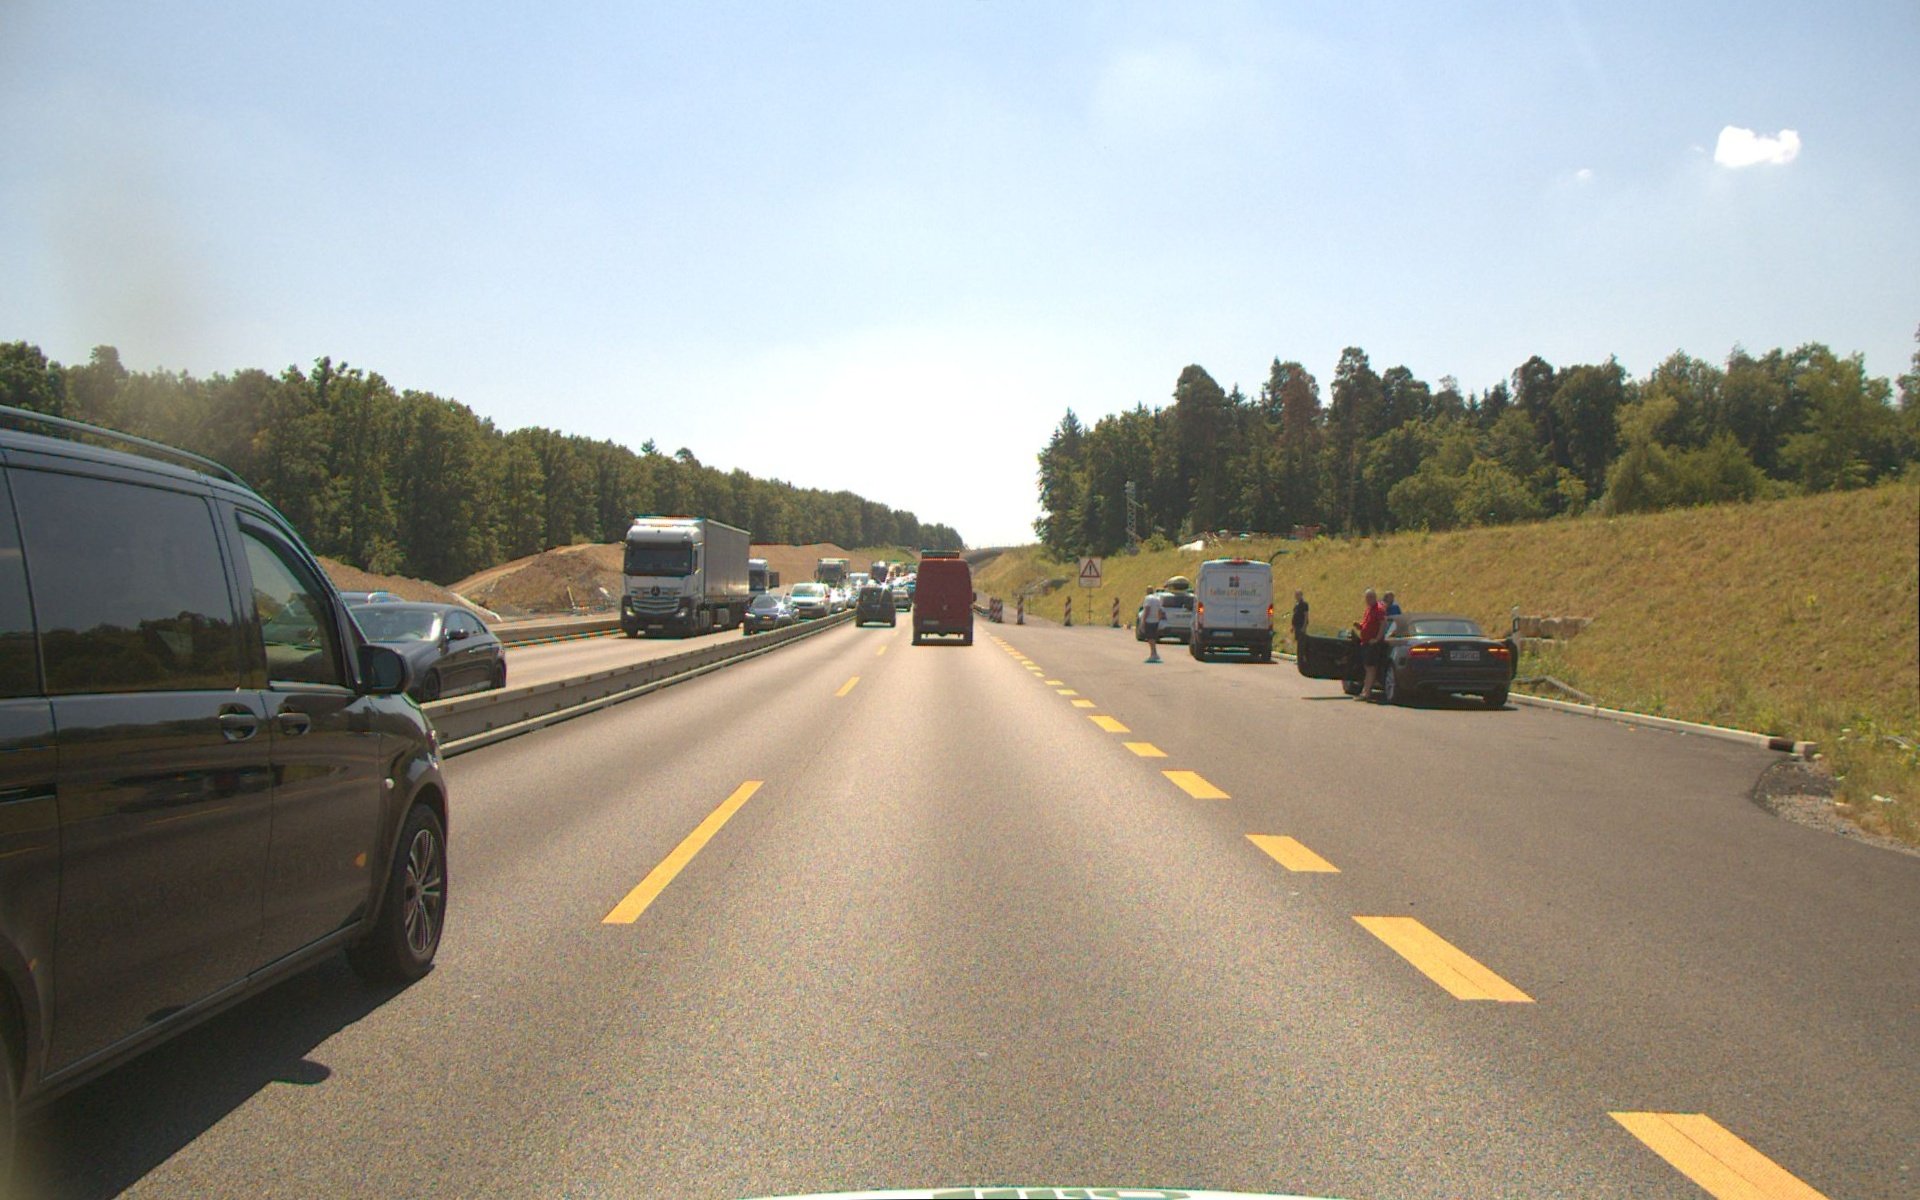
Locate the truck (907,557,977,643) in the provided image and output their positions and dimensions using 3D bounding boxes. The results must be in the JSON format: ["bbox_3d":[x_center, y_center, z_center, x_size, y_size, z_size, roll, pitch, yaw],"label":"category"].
[{"bbox_3d":[-0.632,0.021,54.130,2.109,2.635,5.331,1,-1,-2],"label":"truck"}]

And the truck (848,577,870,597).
[{"bbox_3d":[-12.731,-1.580,209.069,2.351,2.399,5.226,1,-1,0],"label":"truck"}]

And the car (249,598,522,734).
[{"bbox_3d":[-6.763,0.737,20.050,1.694,1.411,4.858,1,-1,-2],"label":"car"}]

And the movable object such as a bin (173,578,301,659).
[{"bbox_3d":[-30.048,0.698,69.096,2.124,3.163,7.164,-2,0,0],"label":"movable object such as a bin"}]

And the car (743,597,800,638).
[{"bbox_3d":[-6.922,0.651,61.102,1.692,1.411,4.482,1,-1,-2],"label":"car"}]

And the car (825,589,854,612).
[{"bbox_3d":[-8.476,0.049,116.583,1.591,1.584,4.069,1,-1,1],"label":"car"}]

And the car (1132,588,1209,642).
[{"bbox_3d":[7.389,0.490,58.541,1.739,1.706,4.851,2,1,-4],"label":"car"}]

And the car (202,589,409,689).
[{"bbox_3d":[-10.342,0.602,26.494,1.597,1.449,4.500,1,-1,-2],"label":"car"}]

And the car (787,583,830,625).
[{"bbox_3d":[-7.547,0.229,82.620,1.788,1.960,5.261,1,-1,-2],"label":"car"}]

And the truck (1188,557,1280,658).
[{"bbox_3d":[7.363,0.171,44.948,2.084,2.500,5.929,1,0,6],"label":"truck"}]

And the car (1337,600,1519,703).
[{"bbox_3d":[7.502,0.761,26.944,1.620,1.451,4.544,-2,0,0],"label":"car"}]

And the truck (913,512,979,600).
[{"bbox_3d":[-1.058,-2.953,119.754,4.311,5.592,16.599,1,-1,-1],"label":"truck"}]

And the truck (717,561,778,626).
[{"bbox_3d":[-10.644,-0.287,83.116,2.349,3.112,5.062,1,-1,0],"label":"truck"}]

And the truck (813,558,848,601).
[{"bbox_3d":[-11.983,-1.883,154.236,2.457,3.680,9.639,1,-1,0],"label":"truck"}]

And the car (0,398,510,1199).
[{"bbox_3d":[-2.942,0.507,4.739,1.836,1.883,5.477,1,0,-1],"label":"car"}]

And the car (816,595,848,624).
[{"bbox_3d":[-7.615,0.572,98.626,1.690,1.659,4.389,1,-1,-2],"label":"car"}]

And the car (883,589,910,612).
[{"bbox_3d":[-4.508,0.076,118.303,1.794,1.549,3.960,1,-1,-1],"label":"car"}]

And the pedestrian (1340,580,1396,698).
[{"bbox_3d":[6.549,0.620,26.574,0.631,1.860,0.555,1,0,-22],"label":"pedestrian"}]

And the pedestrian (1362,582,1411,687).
[{"bbox_3d":[7.736,0.617,30.019,0.613,1.860,0.640,1,0,-13],"label":"pedestrian"}]

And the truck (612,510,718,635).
[{"bbox_3d":[-10.184,-0.889,57.526,2.712,4.115,4.942,1,-1,0],"label":"truck"}]

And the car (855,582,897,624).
[{"bbox_3d":[-3.859,0.137,76.543,1.716,1.856,4.782,1,0,-1],"label":"car"}]

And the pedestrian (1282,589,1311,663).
[{"bbox_3d":[8.370,0.647,41.152,0.552,1.827,0.667,1,-1,-2],"label":"pedestrian"}]

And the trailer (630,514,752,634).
[{"bbox_3d":[-10.299,-0.942,64.947,2.734,4.146,13.708,1,0,-1],"label":"trailer"}]

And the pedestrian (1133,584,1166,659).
[{"bbox_3d":[4.754,0.538,41.425,0.708,1.860,0.719,1,-1,-1],"label":"pedestrian"}]
